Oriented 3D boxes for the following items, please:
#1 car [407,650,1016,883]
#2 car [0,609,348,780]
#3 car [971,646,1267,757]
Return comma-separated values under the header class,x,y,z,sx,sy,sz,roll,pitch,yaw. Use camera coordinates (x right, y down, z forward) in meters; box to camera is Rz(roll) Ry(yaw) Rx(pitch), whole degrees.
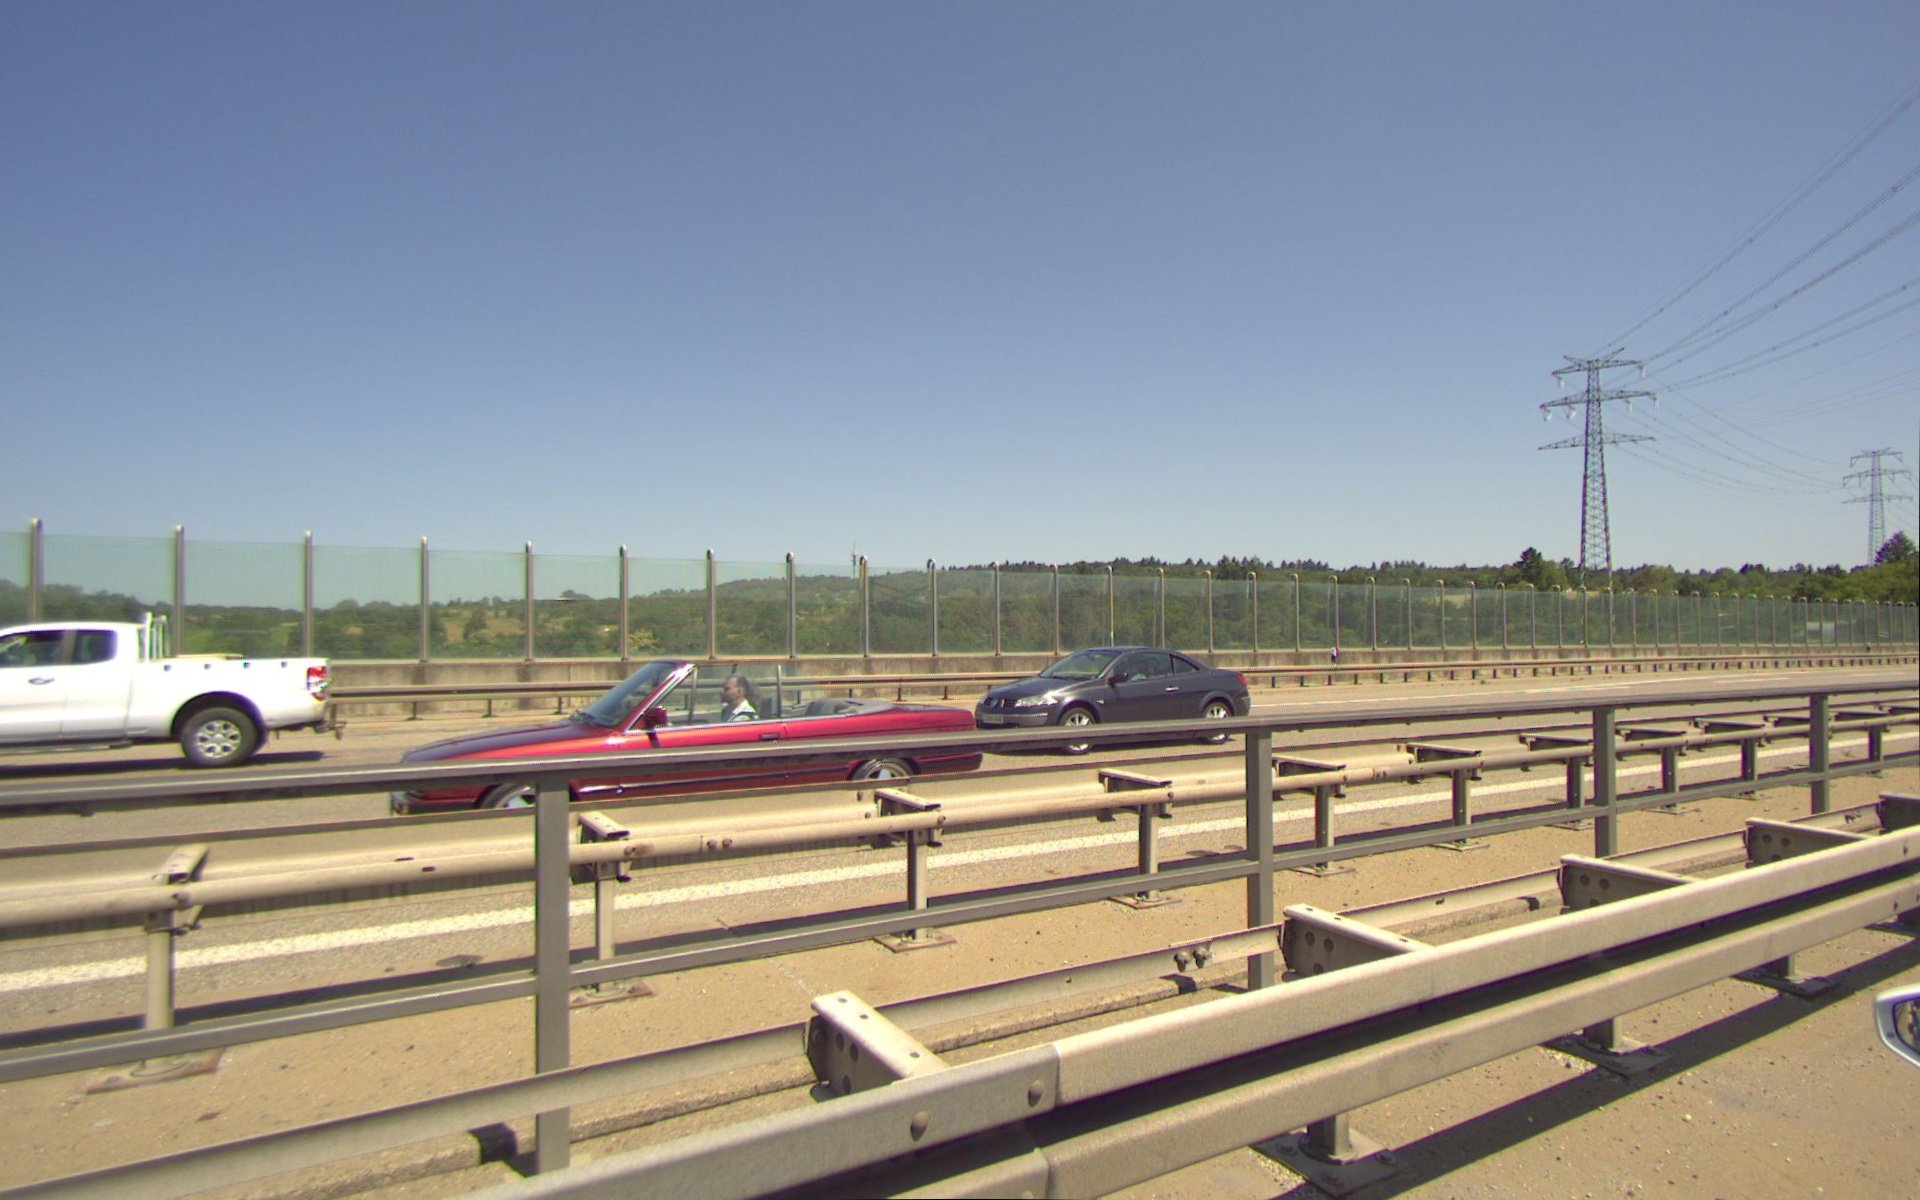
class,x,y,z,sx,sy,sz,roll,pitch,yaw
car,-1.784,1.071,7.732,4.291,1.335,1.590,1,-3,-31
car,-10.678,1.088,12.458,5.195,1.910,1.984,1,-1,-31
car,2.320,1.358,14.353,4.130,1.368,1.590,1,-3,-31
